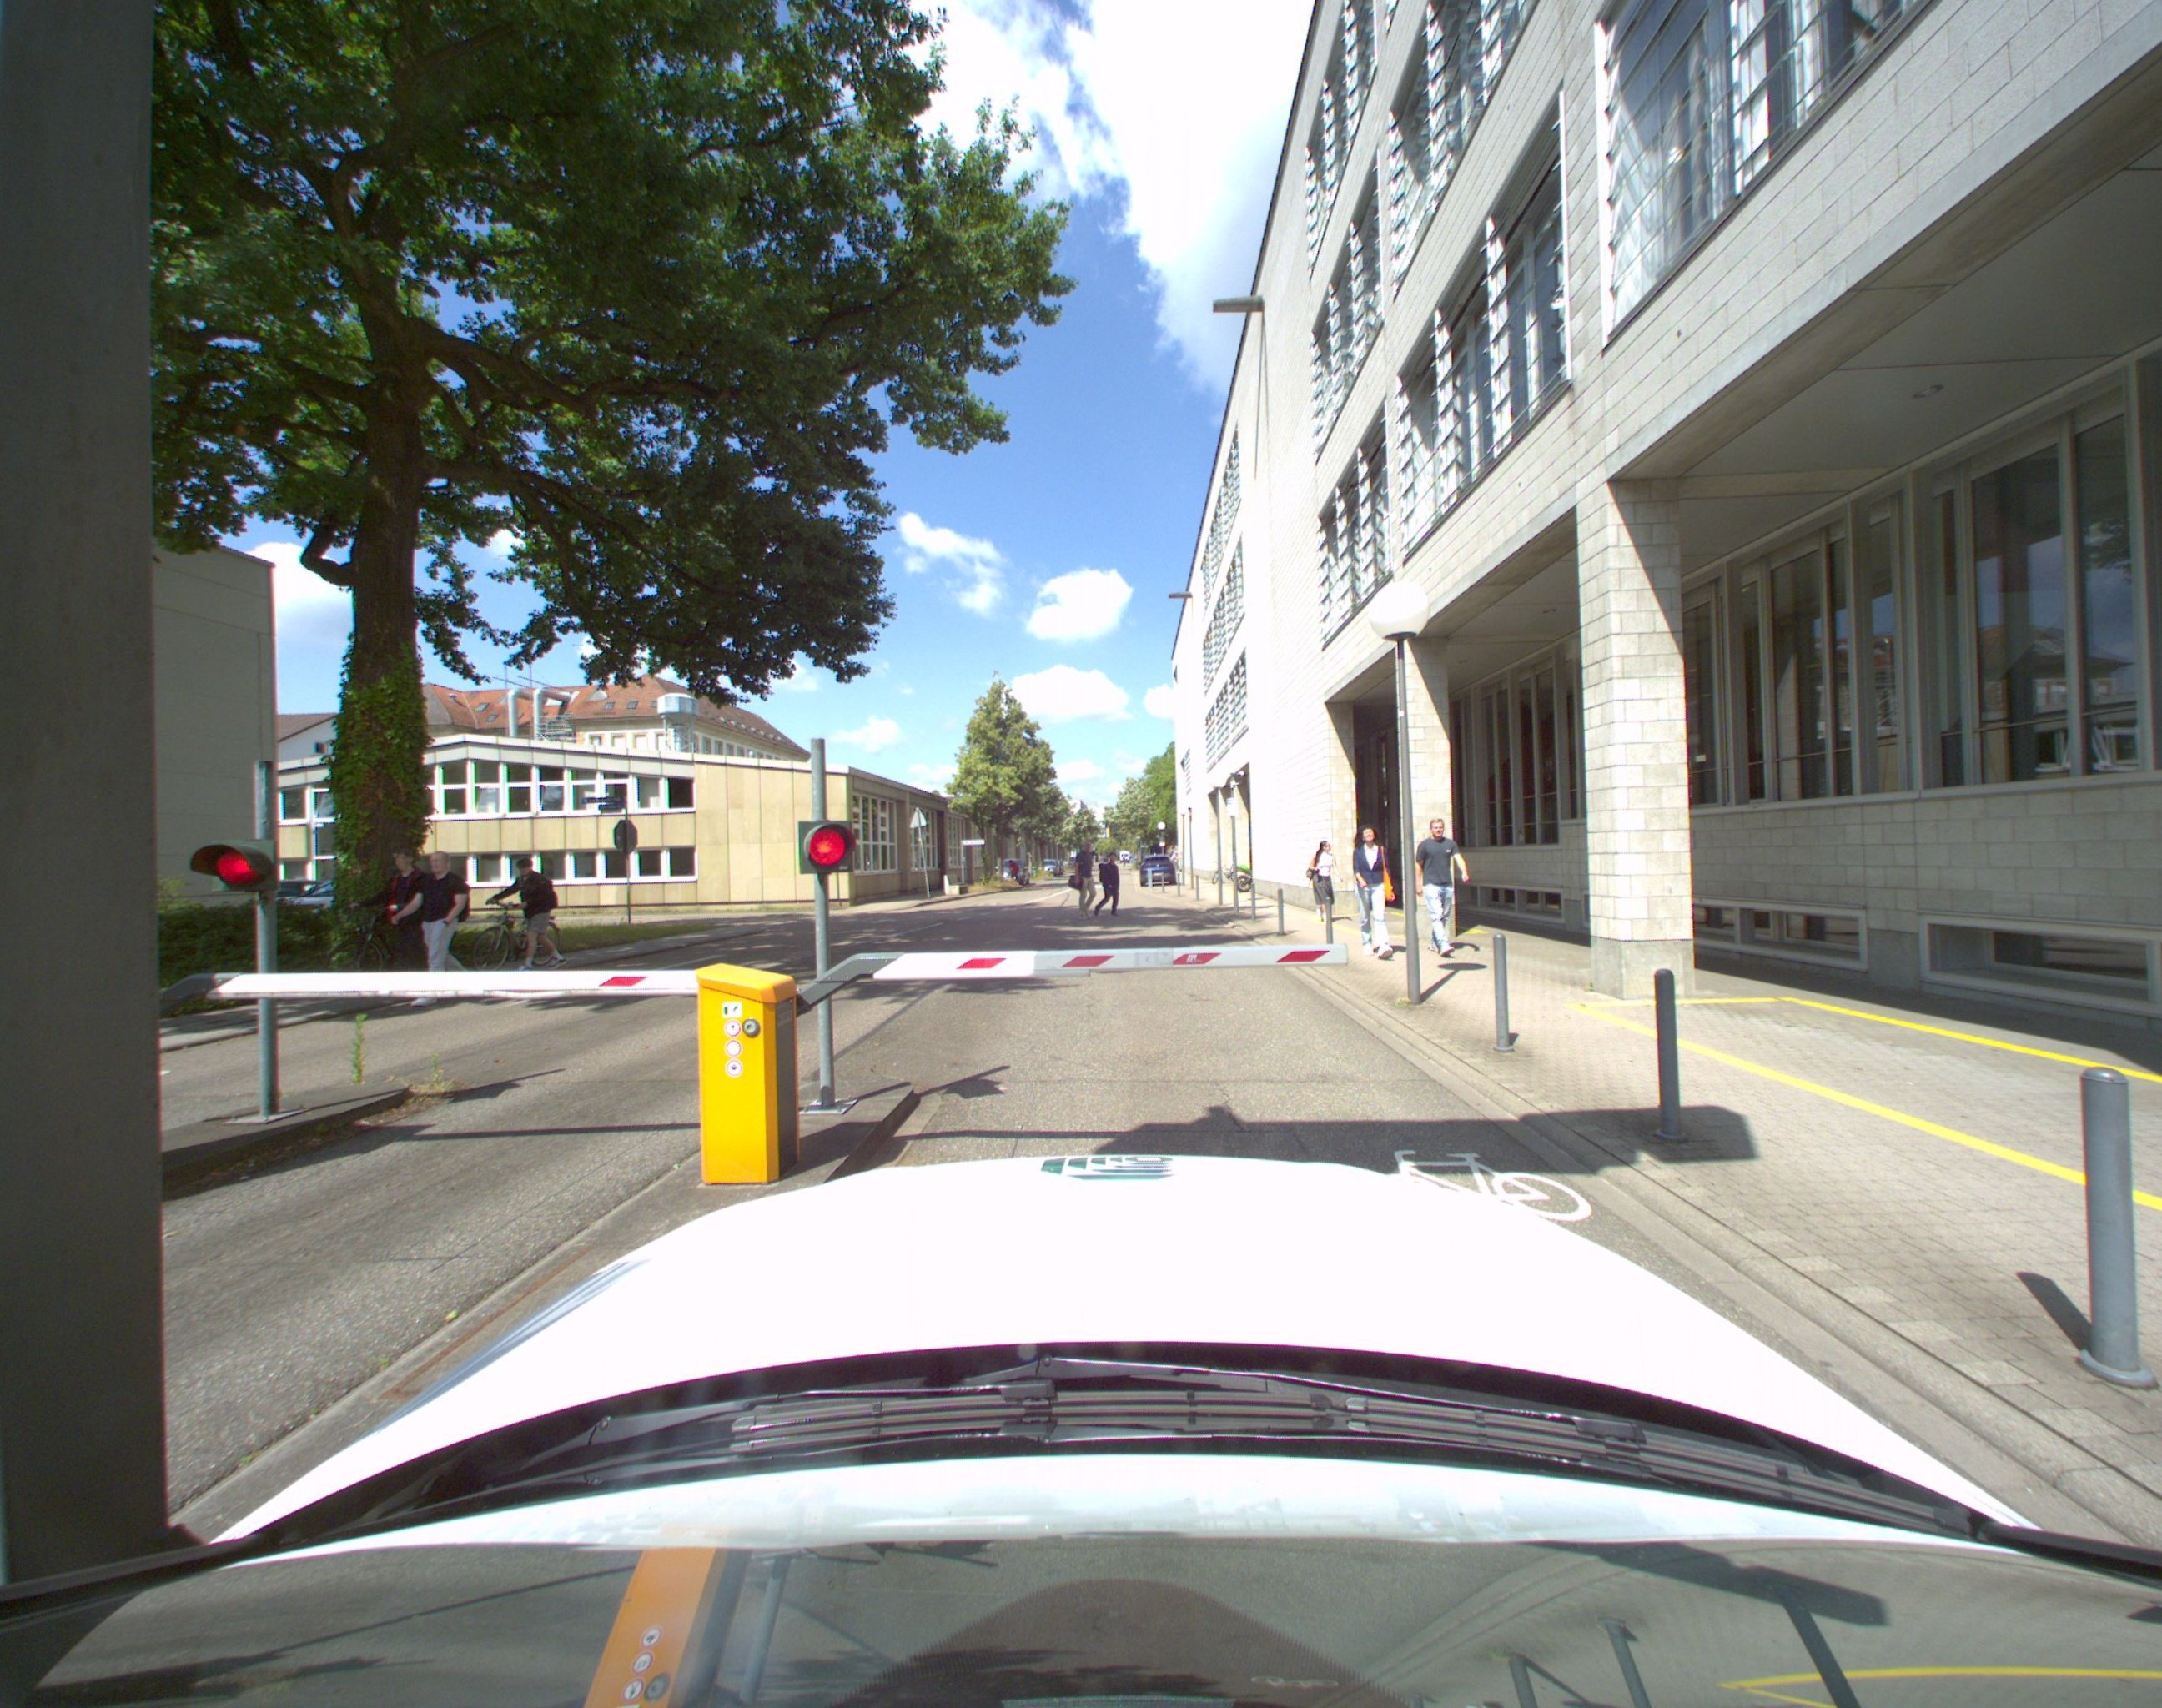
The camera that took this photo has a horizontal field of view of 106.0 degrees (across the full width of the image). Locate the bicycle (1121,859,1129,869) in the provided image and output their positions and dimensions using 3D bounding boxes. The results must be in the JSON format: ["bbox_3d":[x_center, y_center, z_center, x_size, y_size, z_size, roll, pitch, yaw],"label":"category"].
[{"bbox_3d":[6.184,1.431,114.794,0.983,1.316,2.965,-2,-2,3],"label":"bicycle"}]

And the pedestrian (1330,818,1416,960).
[{"bbox_3d":[3.916,0.450,11.001,0.692,1.780,1.086,-3,0,2],"label":"pedestrian"}]

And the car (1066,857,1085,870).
[{"bbox_3d":[-0.606,1.121,100.163,1.985,1.545,4.216,-1,0,4],"label":"car"}]

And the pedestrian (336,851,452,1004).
[{"bbox_3d":[-8.811,0.896,10.487,1.065,1.816,0.797,-2,0,-39],"label":"pedestrian"}]

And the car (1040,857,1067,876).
[{"bbox_3d":[-2.397,1.082,72.054,1.985,1.545,4.216,-1,0,4],"label":"car"}]

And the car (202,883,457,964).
[{"bbox_3d":[-17.193,1.513,18.998,1.822,1.467,4.301,-2,0,2],"label":"car"}]

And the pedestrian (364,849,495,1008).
[{"bbox_3d":[-7.888,0.856,9.908,0.702,1.809,1.002,-2,0,2],"label":"pedestrian"}]

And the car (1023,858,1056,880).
[{"bbox_3d":[-3.179,1.120,63.283,1.985,1.545,4.216,-1,0,4],"label":"car"}]

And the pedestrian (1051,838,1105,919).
[{"bbox_3d":[-0.081,0.590,19.956,1.008,1.925,0.879,0,-1,-28],"label":"pedestrian"}]

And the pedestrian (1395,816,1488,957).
[{"bbox_3d":[4.830,0.412,10.972,0.764,1.780,0.911,-3,0,1],"label":"pedestrian"}]

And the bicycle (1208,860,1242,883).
[{"bbox_3d":[6.954,0.835,39.306,1.534,1.066,0.649,-2,0,10],"label":"bicycle"}]

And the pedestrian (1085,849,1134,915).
[{"bbox_3d":[0.708,0.694,20.542,0.899,1.632,0.879,0,-1,-28],"label":"pedestrian"}]

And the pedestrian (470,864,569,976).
[{"bbox_3d":[-8.416,0.959,12.242,0.851,1.586,0.806,-2,0,2],"label":"pedestrian"}]

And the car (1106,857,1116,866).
[{"bbox_3d":[6.643,1.727,181.533,1.984,1.720,4.006,-2,-2,6],"label":"car"}]

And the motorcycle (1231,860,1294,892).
[{"bbox_3d":[6.585,0.787,29.654,2.113,1.023,0.660,-4,-2,4],"label":"motorcycle"}]

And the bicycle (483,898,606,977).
[{"bbox_3d":[-8.657,1.313,13.242,0.643,1.049,1.901,-2,0,2],"label":"bicycle"}]

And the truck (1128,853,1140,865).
[{"bbox_3d":[9.540,0.889,147.366,1.986,2.014,4.001,-2,-2,2],"label":"truck"}]

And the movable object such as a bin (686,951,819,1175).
[{"bbox_3d":[-1.459,0.912,3.647,0.413,0.905,0.353,-1,0,7],"label":"movable object such as a bin"}]

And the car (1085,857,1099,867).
[{"bbox_3d":[1.716,1.203,126.711,1.985,1.545,4.216,-1,0,4],"label":"car"}]

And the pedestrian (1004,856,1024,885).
[{"bbox_3d":[-3.887,0.956,47.147,0.889,1.632,0.889,0,-1,-27],"label":"pedestrian"}]

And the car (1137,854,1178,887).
[{"bbox_3d":[3.914,0.815,42.409,1.985,1.545,4.216,-1,0,4],"label":"car"}]

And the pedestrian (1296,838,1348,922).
[{"bbox_3d":[4.913,0.524,16.644,0.738,1.632,0.888,-3,0,1],"label":"pedestrian"}]

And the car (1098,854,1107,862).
[{"bbox_3d":[5.431,0.988,204.739,1.984,1.720,4.006,-2,-2,6],"label":"car"}]

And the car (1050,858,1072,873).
[{"bbox_3d":[-2.096,1.256,87.811,1.985,1.545,4.216,-1,0,4],"label":"car"}]

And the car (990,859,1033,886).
[{"bbox_3d":[-4.225,1.109,50.146,1.985,1.545,4.216,-1,0,4],"label":"car"}]

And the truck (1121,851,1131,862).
[{"bbox_3d":[9.786,0.576,177.728,1.986,2.271,4.617,-2,-2,2],"label":"truck"}]
